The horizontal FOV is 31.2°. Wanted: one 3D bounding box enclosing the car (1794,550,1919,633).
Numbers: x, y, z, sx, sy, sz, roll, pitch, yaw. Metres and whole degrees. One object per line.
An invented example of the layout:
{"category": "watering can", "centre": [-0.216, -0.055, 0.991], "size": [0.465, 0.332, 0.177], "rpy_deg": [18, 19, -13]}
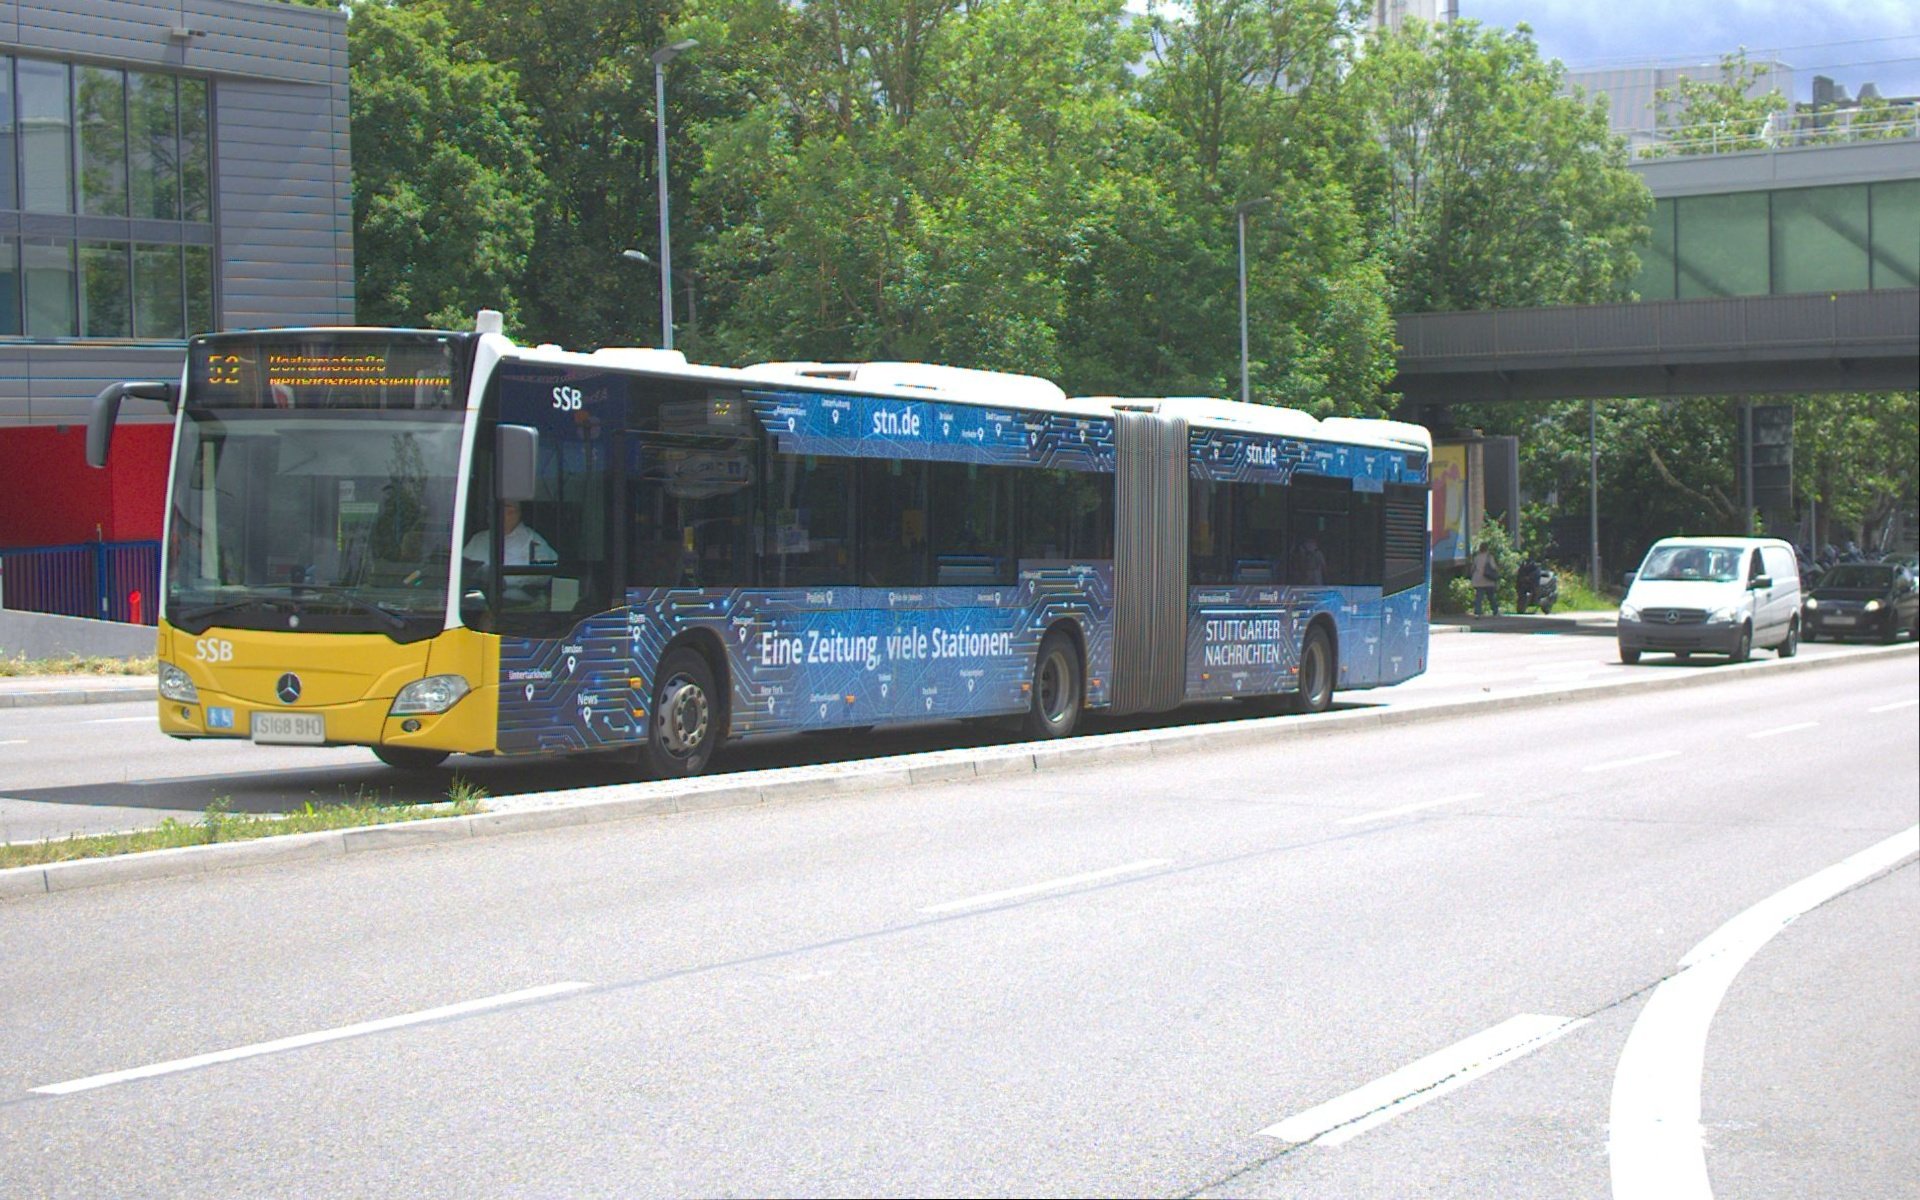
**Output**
{"category": "car", "centre": [16.722, -0.189, 63.679], "size": [1.639, 1.466, 3.770], "rpy_deg": [1, 1, 27]}

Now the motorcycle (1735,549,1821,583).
{"category": "motorcycle", "centre": [25.804, -1.079, 108.520], "size": [2.556, 1.047, 0.673], "rpy_deg": [1, 1, 33]}

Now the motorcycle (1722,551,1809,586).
{"category": "motorcycle", "centre": [25.175, -0.980, 107.512], "size": [2.556, 1.047, 0.673], "rpy_deg": [1, 1, 33]}

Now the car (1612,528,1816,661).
{"category": "car", "centre": [11.532, -0.126, 52.353], "size": [1.880, 1.918, 4.743], "rpy_deg": [1, 1, 27]}

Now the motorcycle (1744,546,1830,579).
{"category": "motorcycle", "centre": [26.408, -1.197, 109.797], "size": [2.556, 1.047, 0.673], "rpy_deg": [1, 1, 33]}

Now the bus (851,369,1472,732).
{"category": "bus", "centre": [2.317, -0.531, 34.450], "size": [2.820, 3.153, 8.894], "rpy_deg": [1, 1, 27]}

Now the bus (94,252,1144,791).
{"category": "bus", "centre": [-1.996, -0.500, 26.022], "size": [2.820, 3.274, 10.104], "rpy_deg": [1, 1, 27]}

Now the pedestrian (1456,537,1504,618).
{"category": "pedestrian", "centre": [11.039, -0.480, 73.019], "size": [0.725, 1.617, 0.719], "rpy_deg": [6, 6, 25]}
